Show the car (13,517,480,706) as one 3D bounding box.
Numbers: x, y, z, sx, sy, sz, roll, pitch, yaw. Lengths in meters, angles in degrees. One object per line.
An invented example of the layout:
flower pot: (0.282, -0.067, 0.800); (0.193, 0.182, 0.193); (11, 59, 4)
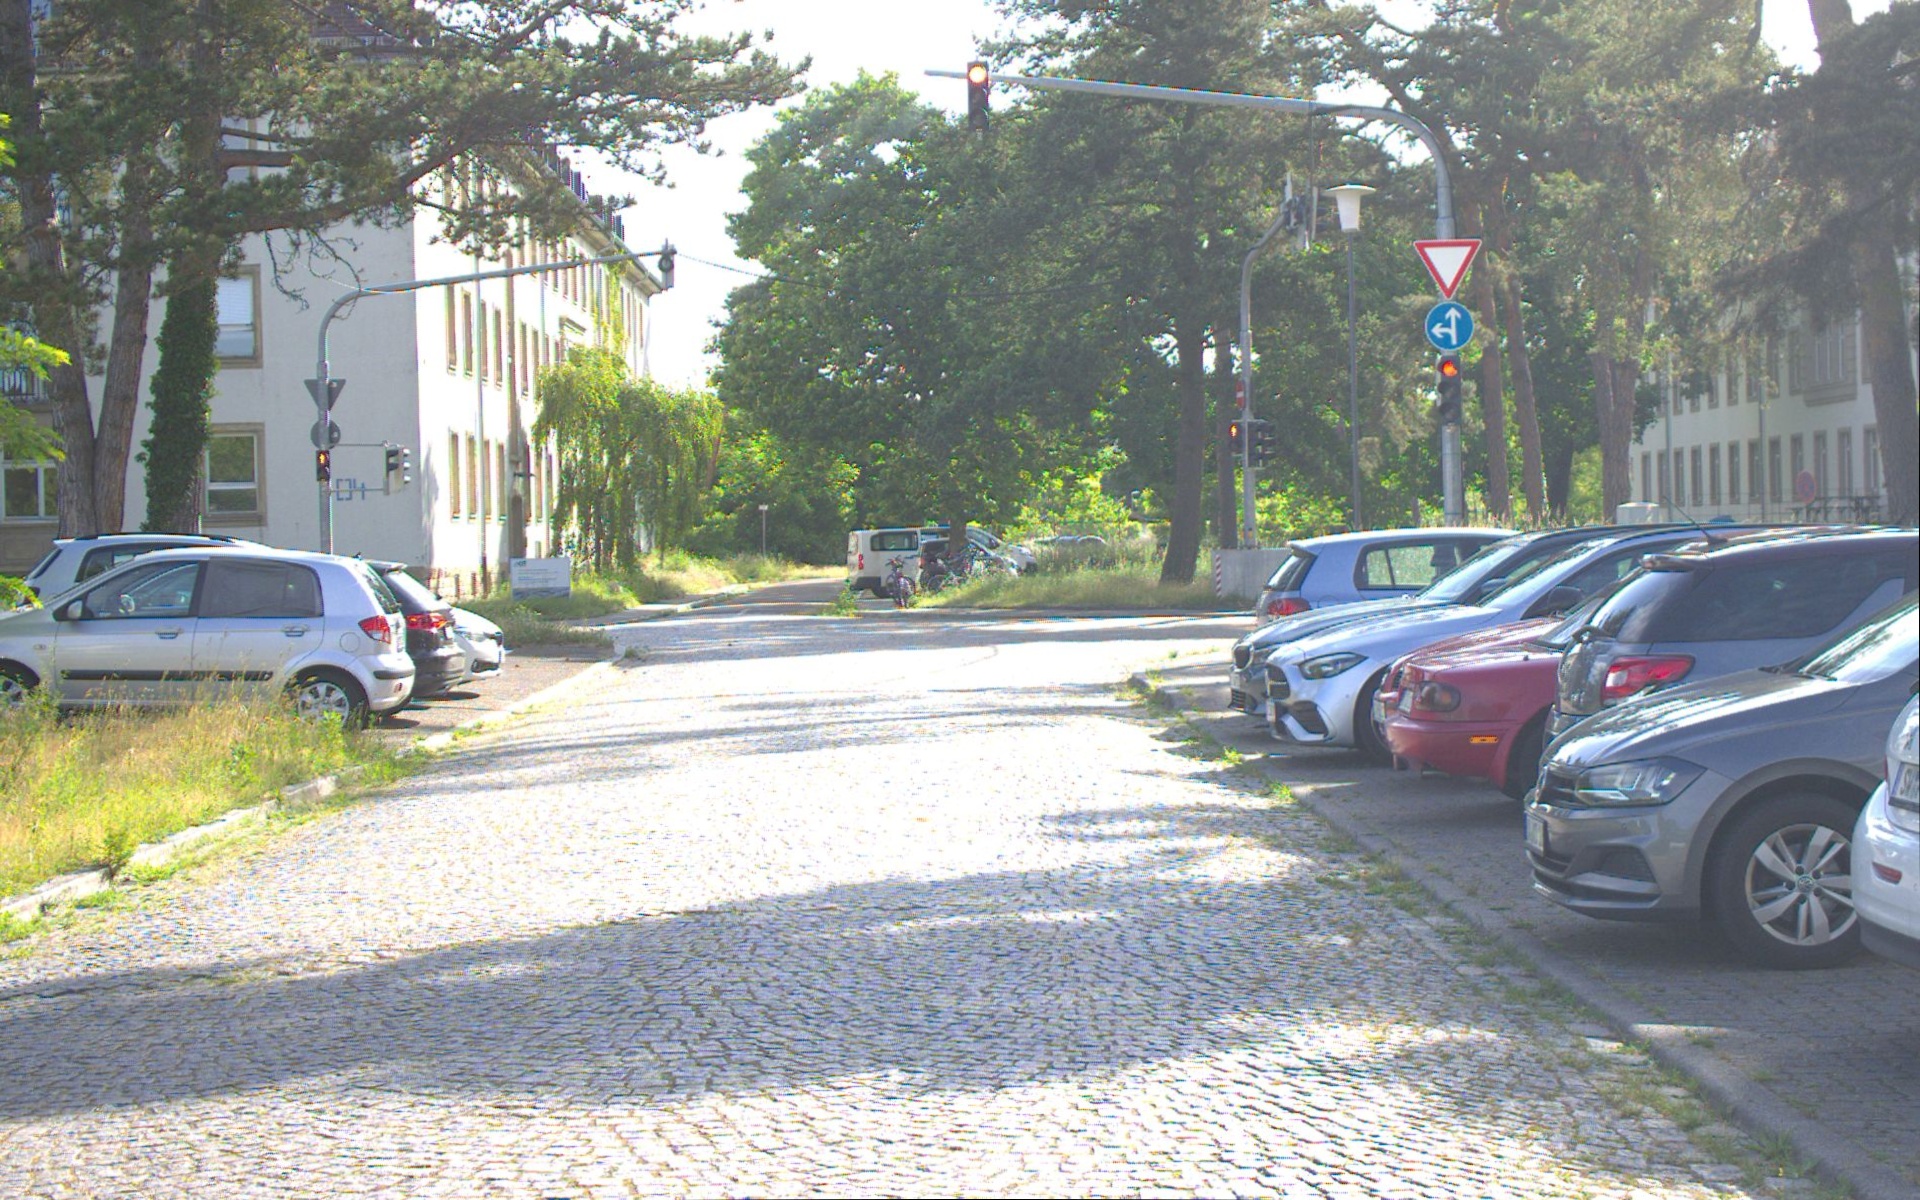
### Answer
car: (-6.698, 0.088, 32.599); (3.987, 1.596, 2.000); (2, 1, -1)

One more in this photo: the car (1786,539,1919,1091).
car: (4.387, 0.486, 9.614); (3.694, 1.460, 1.645); (-3, 1, 0)

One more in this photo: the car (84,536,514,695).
car: (-6.665, 0.138, 35.002); (3.987, 1.448, 2.000); (2, 1, -1)

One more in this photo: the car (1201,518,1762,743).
car: (3.797, 0.200, 25.419); (3.835, 1.524, 1.646); (-1, 1, -2)

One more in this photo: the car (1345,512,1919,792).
car: (4.219, 0.274, 20.468); (3.602, 1.524, 1.646); (-1, 1, -2)

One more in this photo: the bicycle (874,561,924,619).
bicycle: (-1.318, -0.230, 73.562); (0.804, 1.165, 2.181); (-3, 1, -7)

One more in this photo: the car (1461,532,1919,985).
car: (3.823, 0.484, 12.498); (3.675, 1.462, 1.646); (-2, 1, -2)

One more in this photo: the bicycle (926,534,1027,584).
bicycle: (0.371, -0.932, 78.161); (2.172, 1.096, 0.807); (-1, 1, -10)

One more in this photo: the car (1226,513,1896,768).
car: (3.895, 0.234, 22.648); (4.033, 1.524, 1.646); (-1, 1, -4)

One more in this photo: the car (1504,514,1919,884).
car: (4.341, 0.381, 15.420); (3.478, 1.524, 1.646); (-1, 1, -2)

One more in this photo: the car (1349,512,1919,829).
car: (3.915, 0.330, 18.109); (3.478, 1.524, 1.646); (-1, 1, -2)

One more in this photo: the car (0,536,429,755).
car: (-6.323, 0.338, 27.215); (3.986, 1.595, 2.000); (-1, 1, -3)

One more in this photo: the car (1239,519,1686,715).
car: (4.055, 0.115, 28.060); (3.343, 1.477, 1.646); (-1, 1, -2)

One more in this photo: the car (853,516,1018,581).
car: (-0.680, -1.422, 94.484); (4.480, 1.722, 2.000); (-1, 1, -1)

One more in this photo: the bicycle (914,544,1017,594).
bicycle: (0.120, -0.696, 77.026); (2.172, 1.096, 0.807); (-1, 1, -10)
